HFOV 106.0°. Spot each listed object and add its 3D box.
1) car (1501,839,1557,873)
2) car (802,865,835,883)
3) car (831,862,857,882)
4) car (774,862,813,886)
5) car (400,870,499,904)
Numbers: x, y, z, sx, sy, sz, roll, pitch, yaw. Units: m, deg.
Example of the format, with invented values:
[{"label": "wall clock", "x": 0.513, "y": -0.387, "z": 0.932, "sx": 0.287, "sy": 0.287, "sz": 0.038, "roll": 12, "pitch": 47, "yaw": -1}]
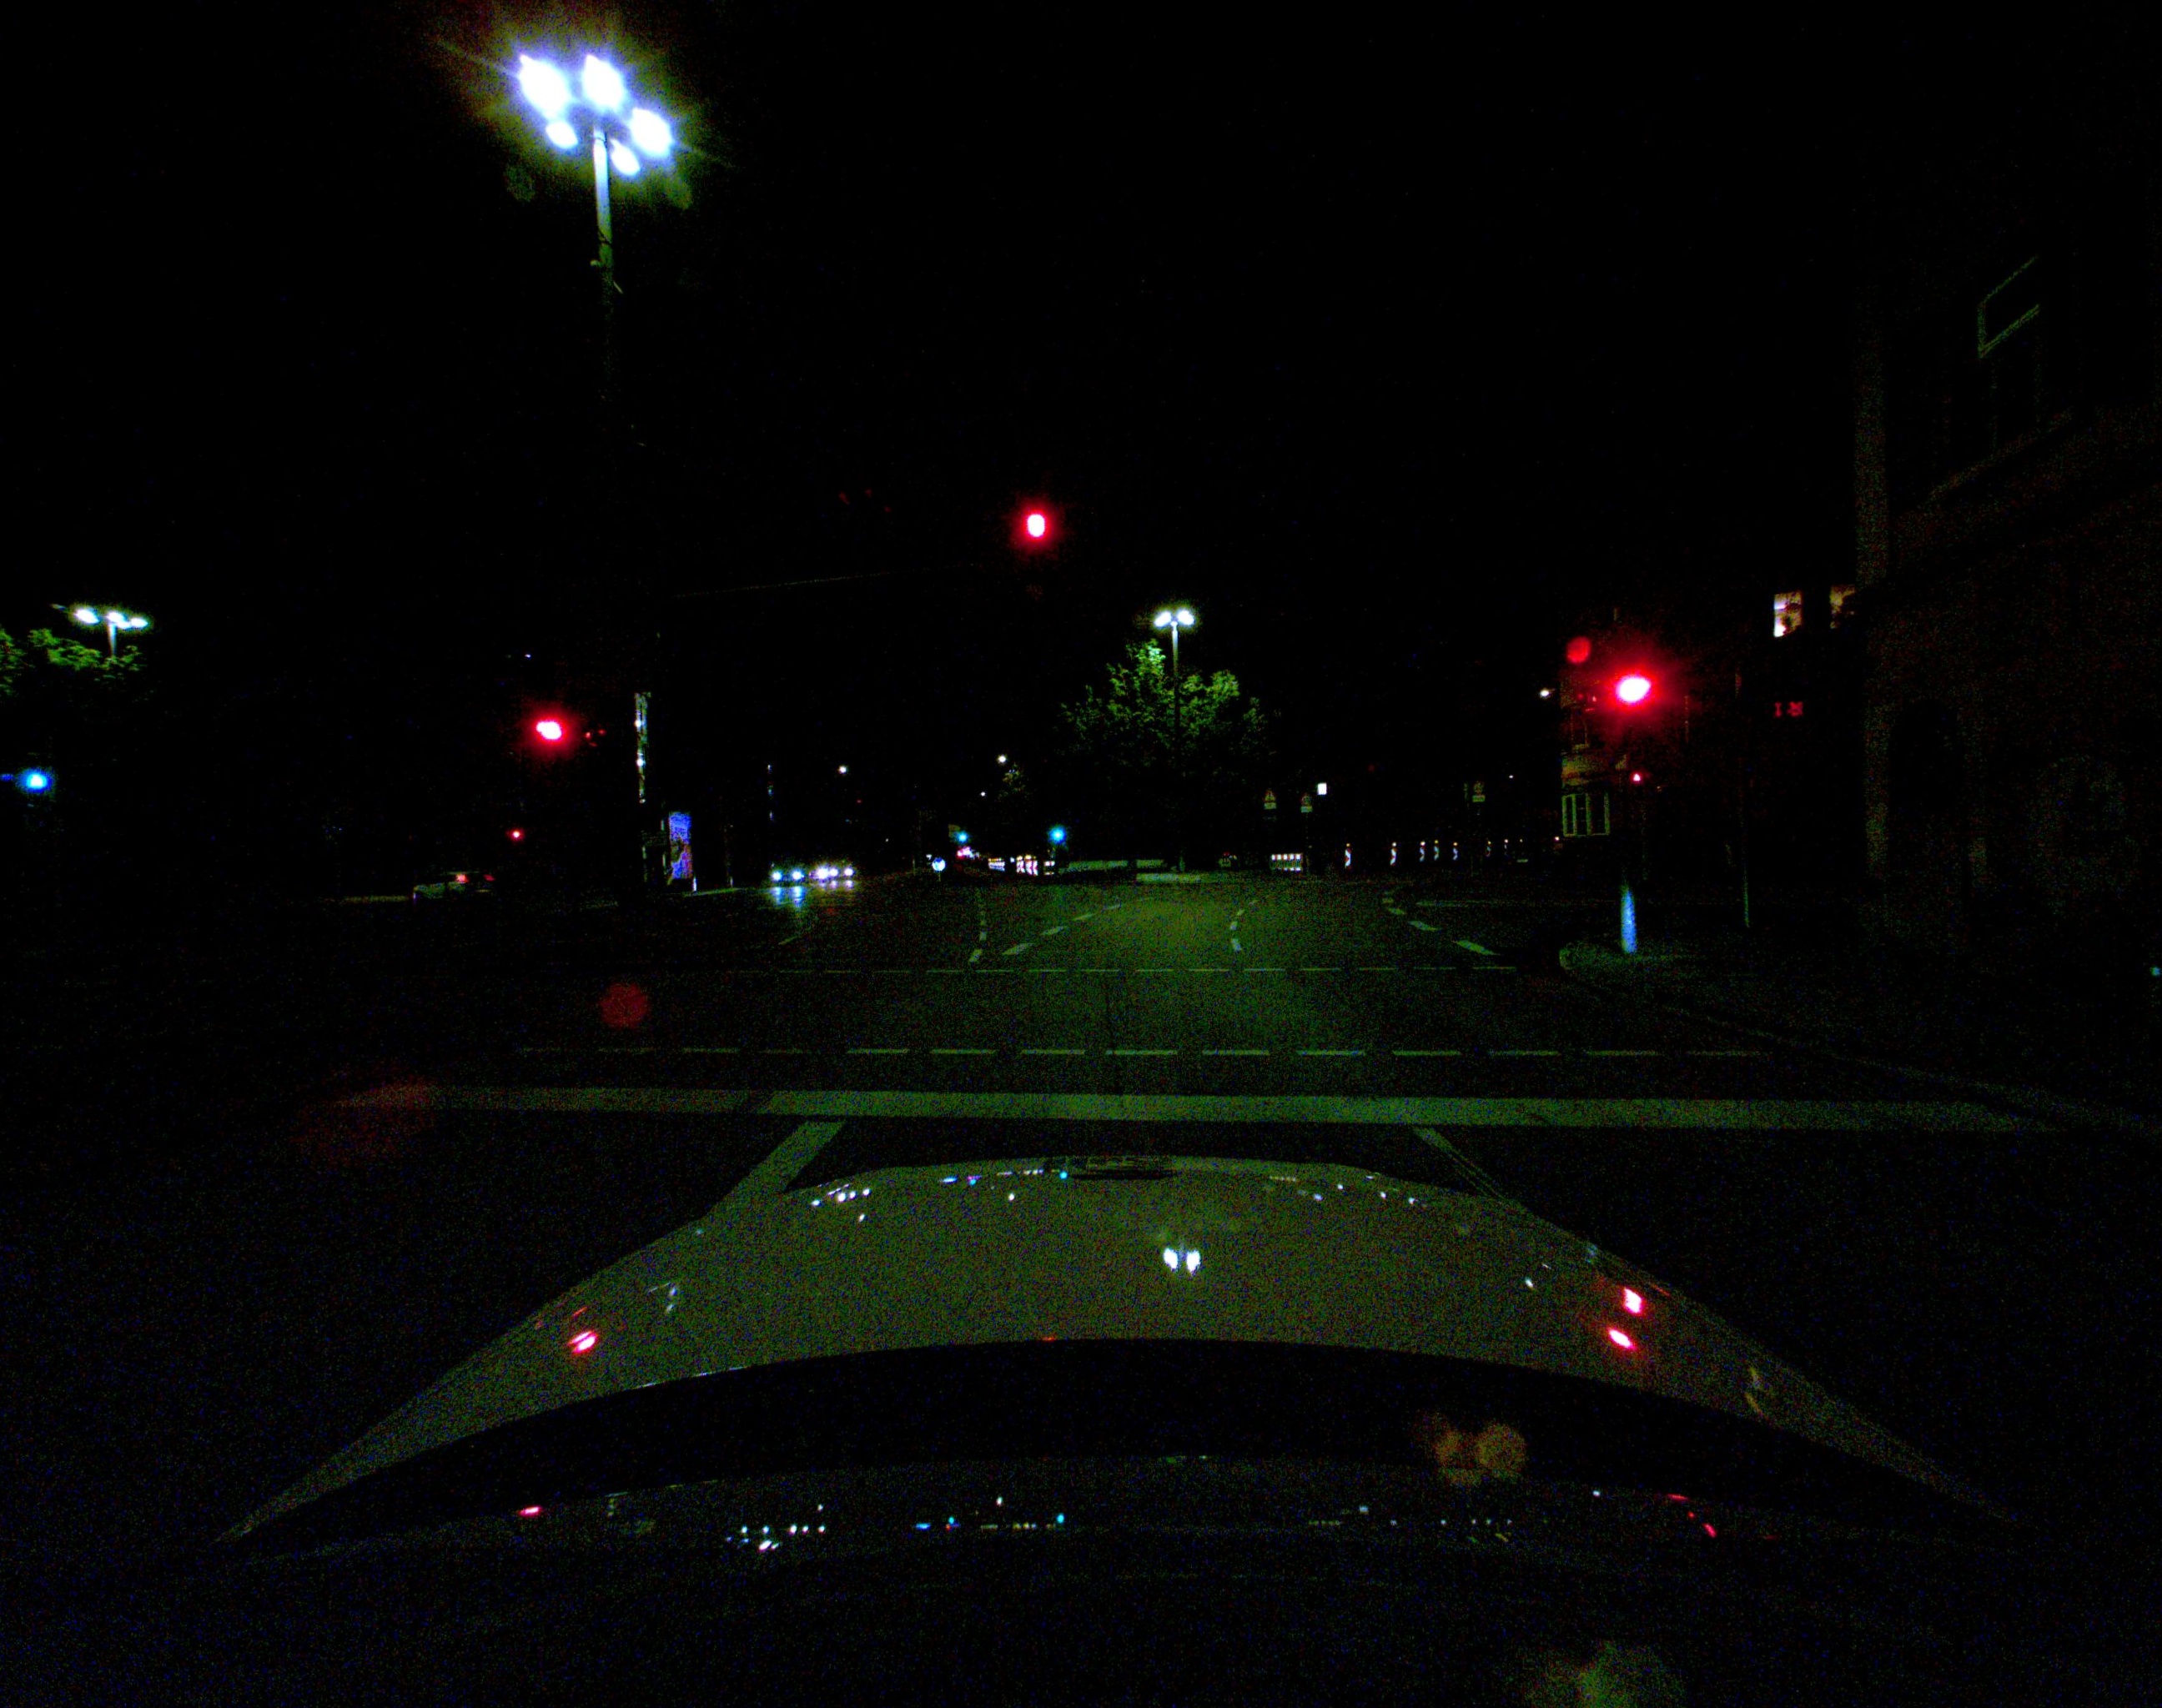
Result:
[{"label": "car", "x": 22.766, "y": 0.076, "z": 41.291, "sx": 1.711, "sy": 1.612, "sz": 3.646, "roll": -2, "pitch": -1, "yaw": 41}, {"label": "car", "x": -20.325, "y": 1.542, "z": 63.159, "sx": 1.756, "sy": 1.322, "sz": 3.538, "roll": -2, "pitch": -1, "yaw": -7}, {"label": "car", "x": -22.002, "y": 1.640, "z": 75.802, "sx": 1.756, "sy": 1.728, "sz": 3.538, "roll": -2, "pitch": -1, "yaw": -7}, {"label": "car", "x": -19.618, "y": 1.330, "z": 55.624, "sx": 1.614, "sy": 1.515, "sz": 3.990, "roll": -2, "pitch": -1, "yaw": -7}, {"label": "car", "x": -30.130, "y": 1.584, "z": 38.851, "sx": 3.956, "sy": 1.491, "sz": 1.716, "roll": -2, "pitch": -1, "yaw": 17}]
